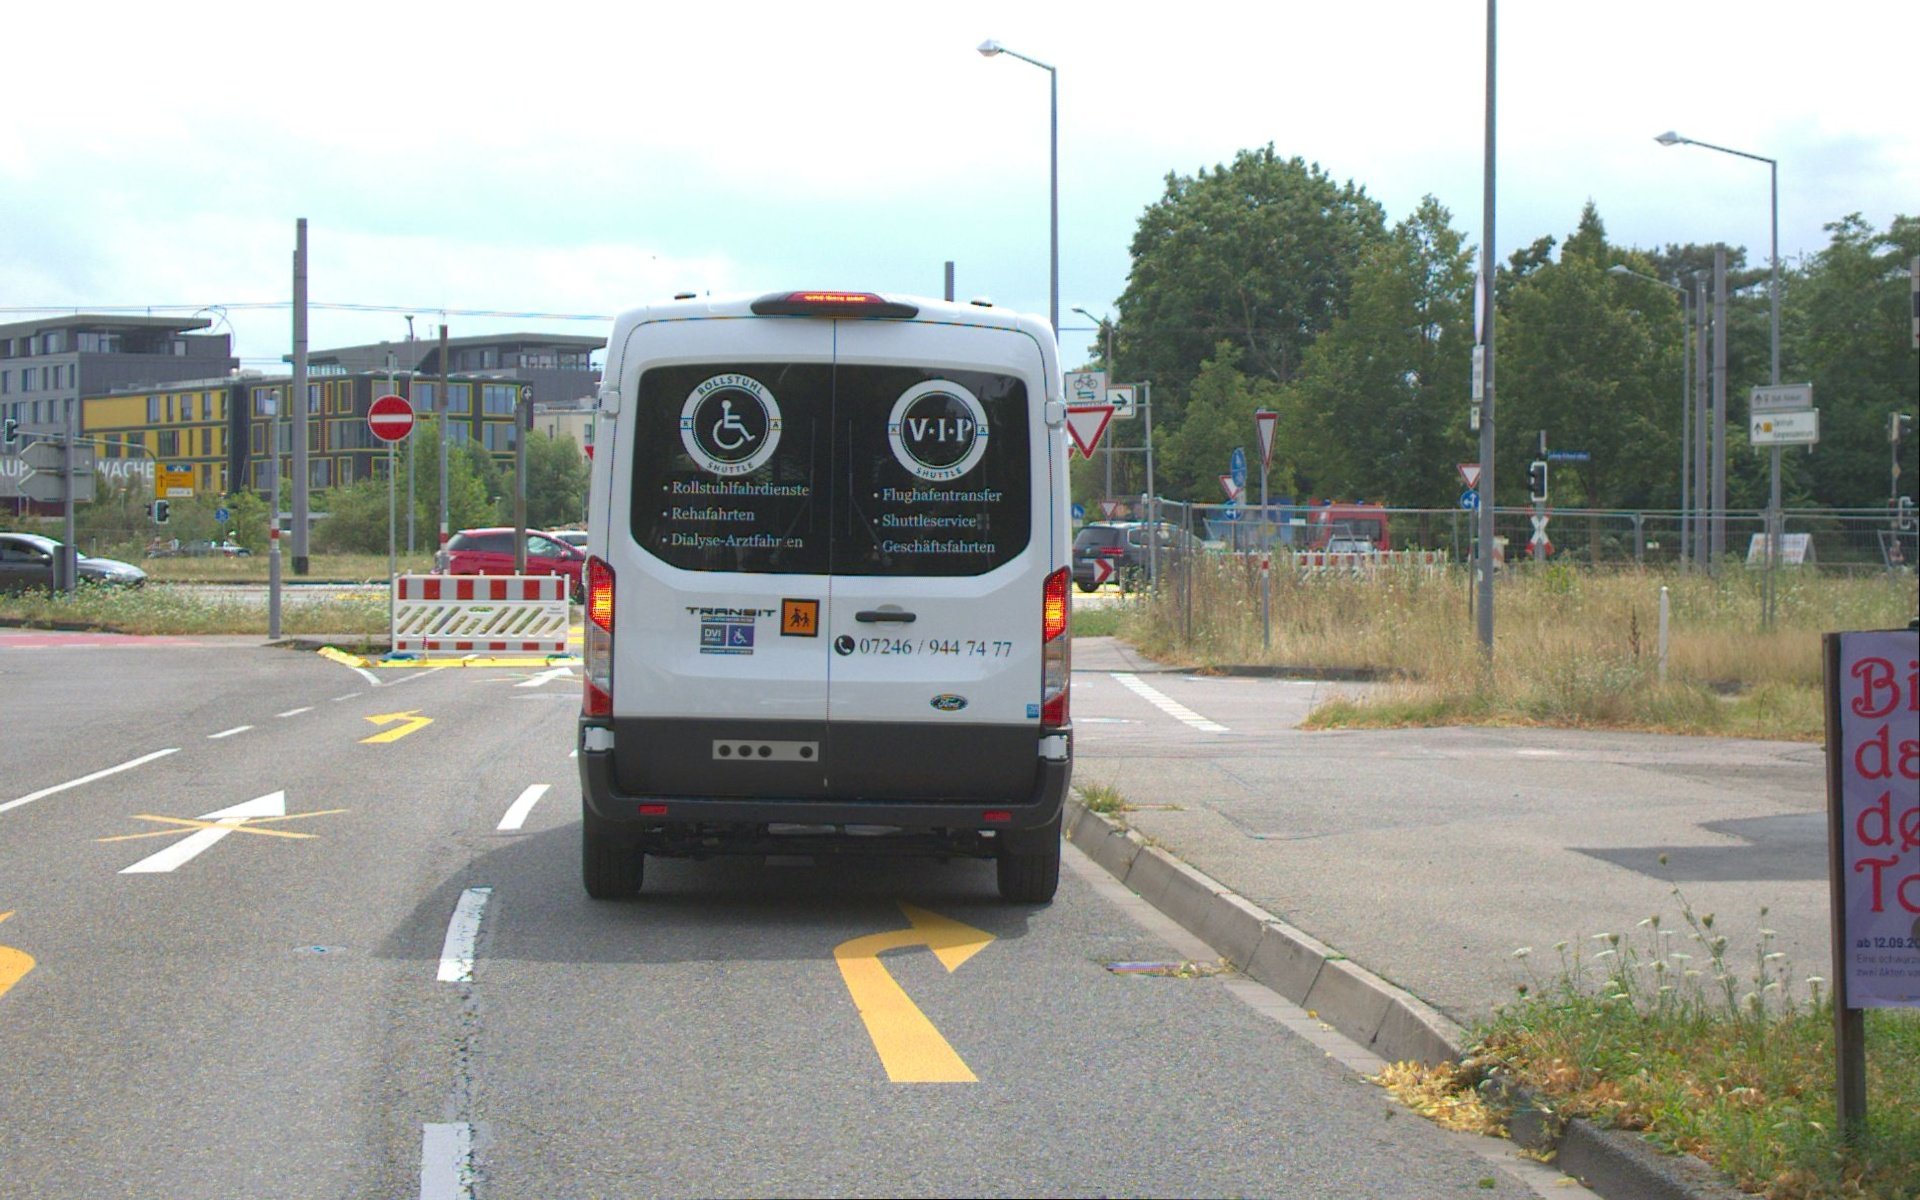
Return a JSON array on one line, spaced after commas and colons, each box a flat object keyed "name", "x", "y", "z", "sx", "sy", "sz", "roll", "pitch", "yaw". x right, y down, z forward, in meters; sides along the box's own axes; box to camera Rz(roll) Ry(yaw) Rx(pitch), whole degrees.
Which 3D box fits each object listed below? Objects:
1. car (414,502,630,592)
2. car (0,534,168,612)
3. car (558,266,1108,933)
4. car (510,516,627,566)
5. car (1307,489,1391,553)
[{"name": "car", "x": -8.747, "y": -1.083, "z": 68.576, "sx": 3.986, "sy": 1.656, "sz": 1.891, "roll": -2, "pitch": 2, "yaw": -16}, {"name": "car", "x": -17.043, "y": -0.486, "z": 63.609, "sx": 4.343, "sy": 1.349, "sz": 1.622, "roll": -1, "pitch": 2, "yaw": 9}, {"name": "car", "x": -0.622, "y": -0.055, "z": 15.284, "sx": 2.062, "sy": 2.531, "sz": 4.001, "roll": 1, "pitch": 2, "yaw": -4}, {"name": "car", "x": -14.838, "y": -2.253, "z": 130.347, "sx": 3.988, "sy": 1.765, "sz": 1.767, "roll": -3, "pitch": 2, "yaw": -36}, {"name": "car", "x": 11.611, "y": -2.384, "z": 102.967, "sx": 2.007, "sy": 1.810, "sz": 4.412, "roll": -1, "pitch": 2, "yaw": 0}]
